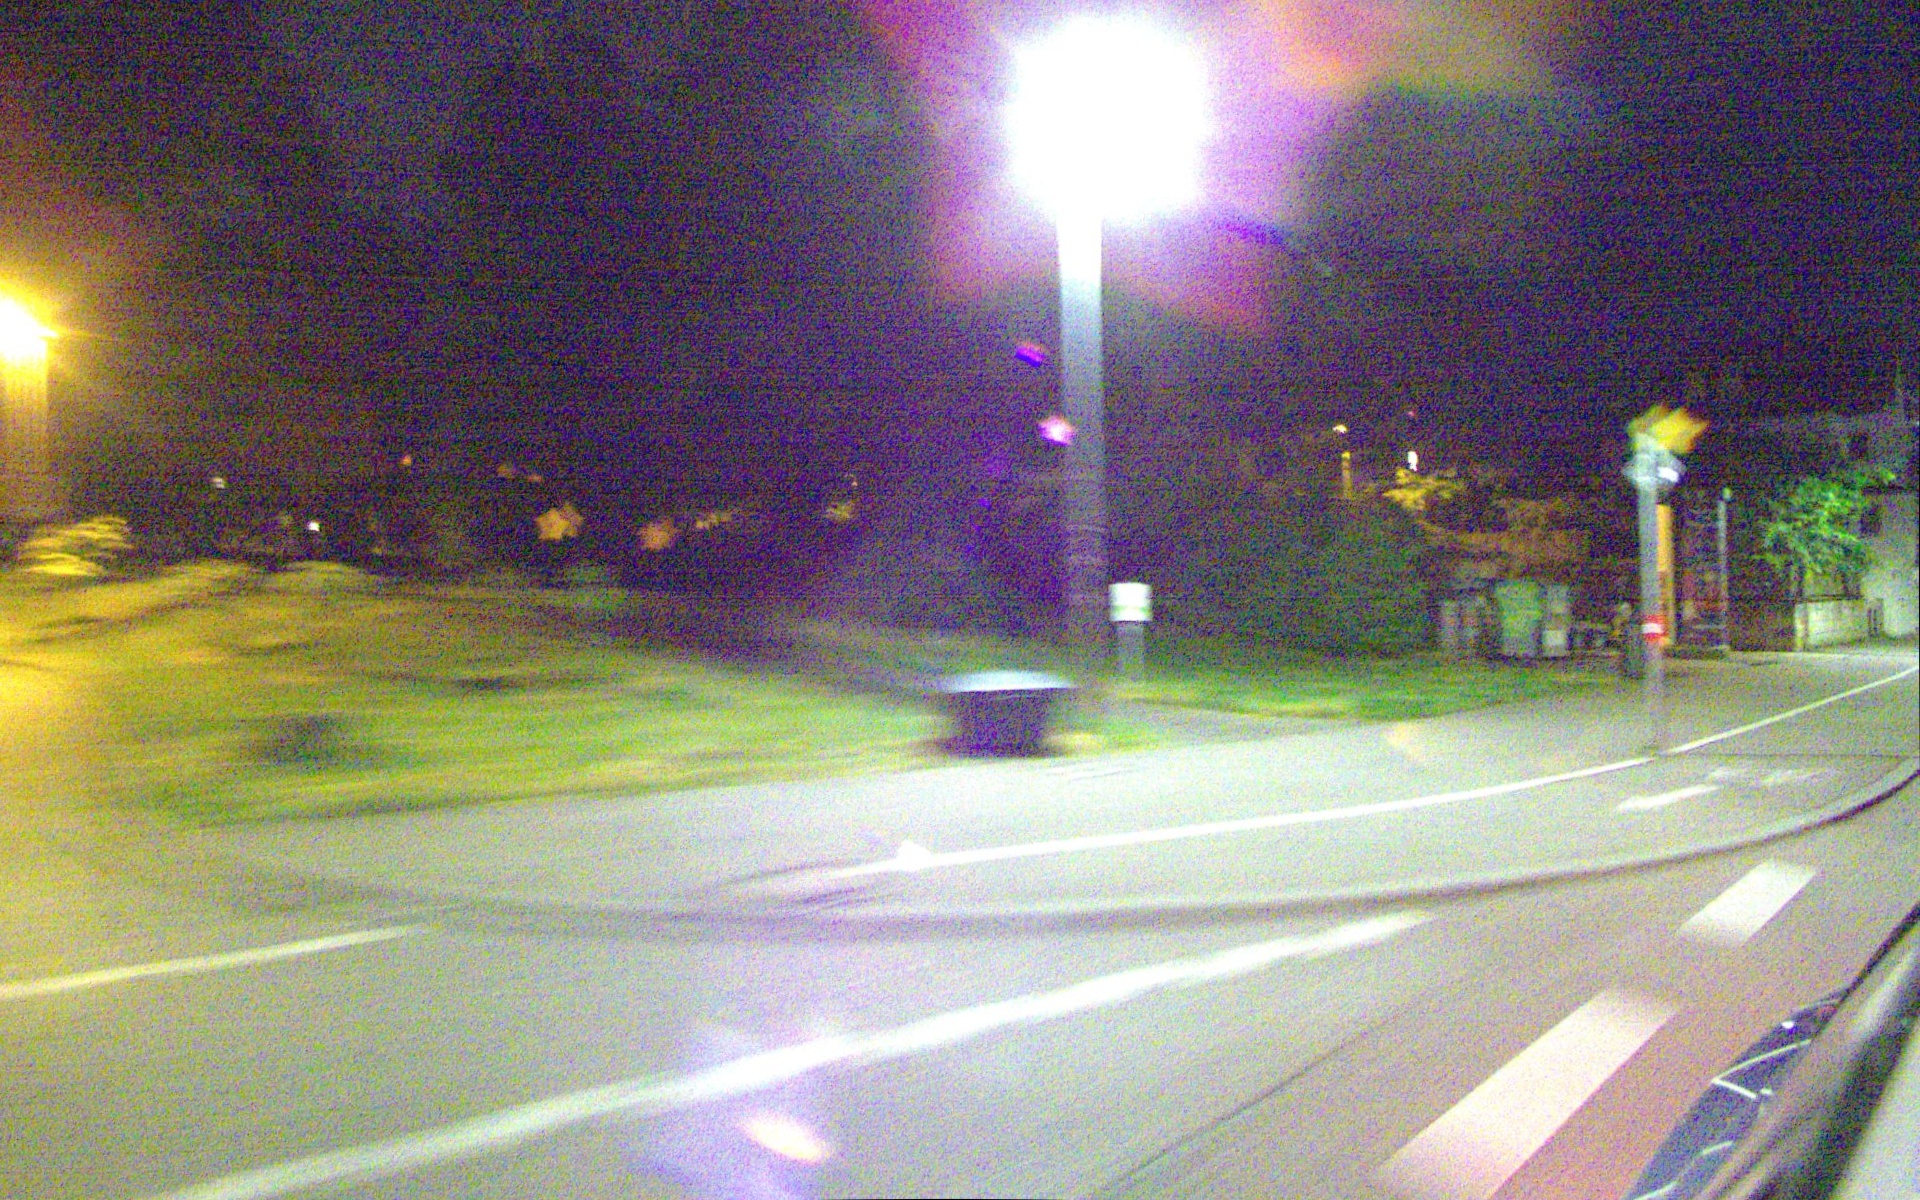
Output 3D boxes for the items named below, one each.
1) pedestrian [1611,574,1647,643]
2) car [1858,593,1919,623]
[{"bbox_3d":[19.591,0.237,29.632,0.759,1.961,0.647,0,1,-40],"label":"pedestrian"},{"bbox_3d":[48.400,0.394,51.531,1.699,1.492,3.721,-1,0,-37],"label":"car"}]
